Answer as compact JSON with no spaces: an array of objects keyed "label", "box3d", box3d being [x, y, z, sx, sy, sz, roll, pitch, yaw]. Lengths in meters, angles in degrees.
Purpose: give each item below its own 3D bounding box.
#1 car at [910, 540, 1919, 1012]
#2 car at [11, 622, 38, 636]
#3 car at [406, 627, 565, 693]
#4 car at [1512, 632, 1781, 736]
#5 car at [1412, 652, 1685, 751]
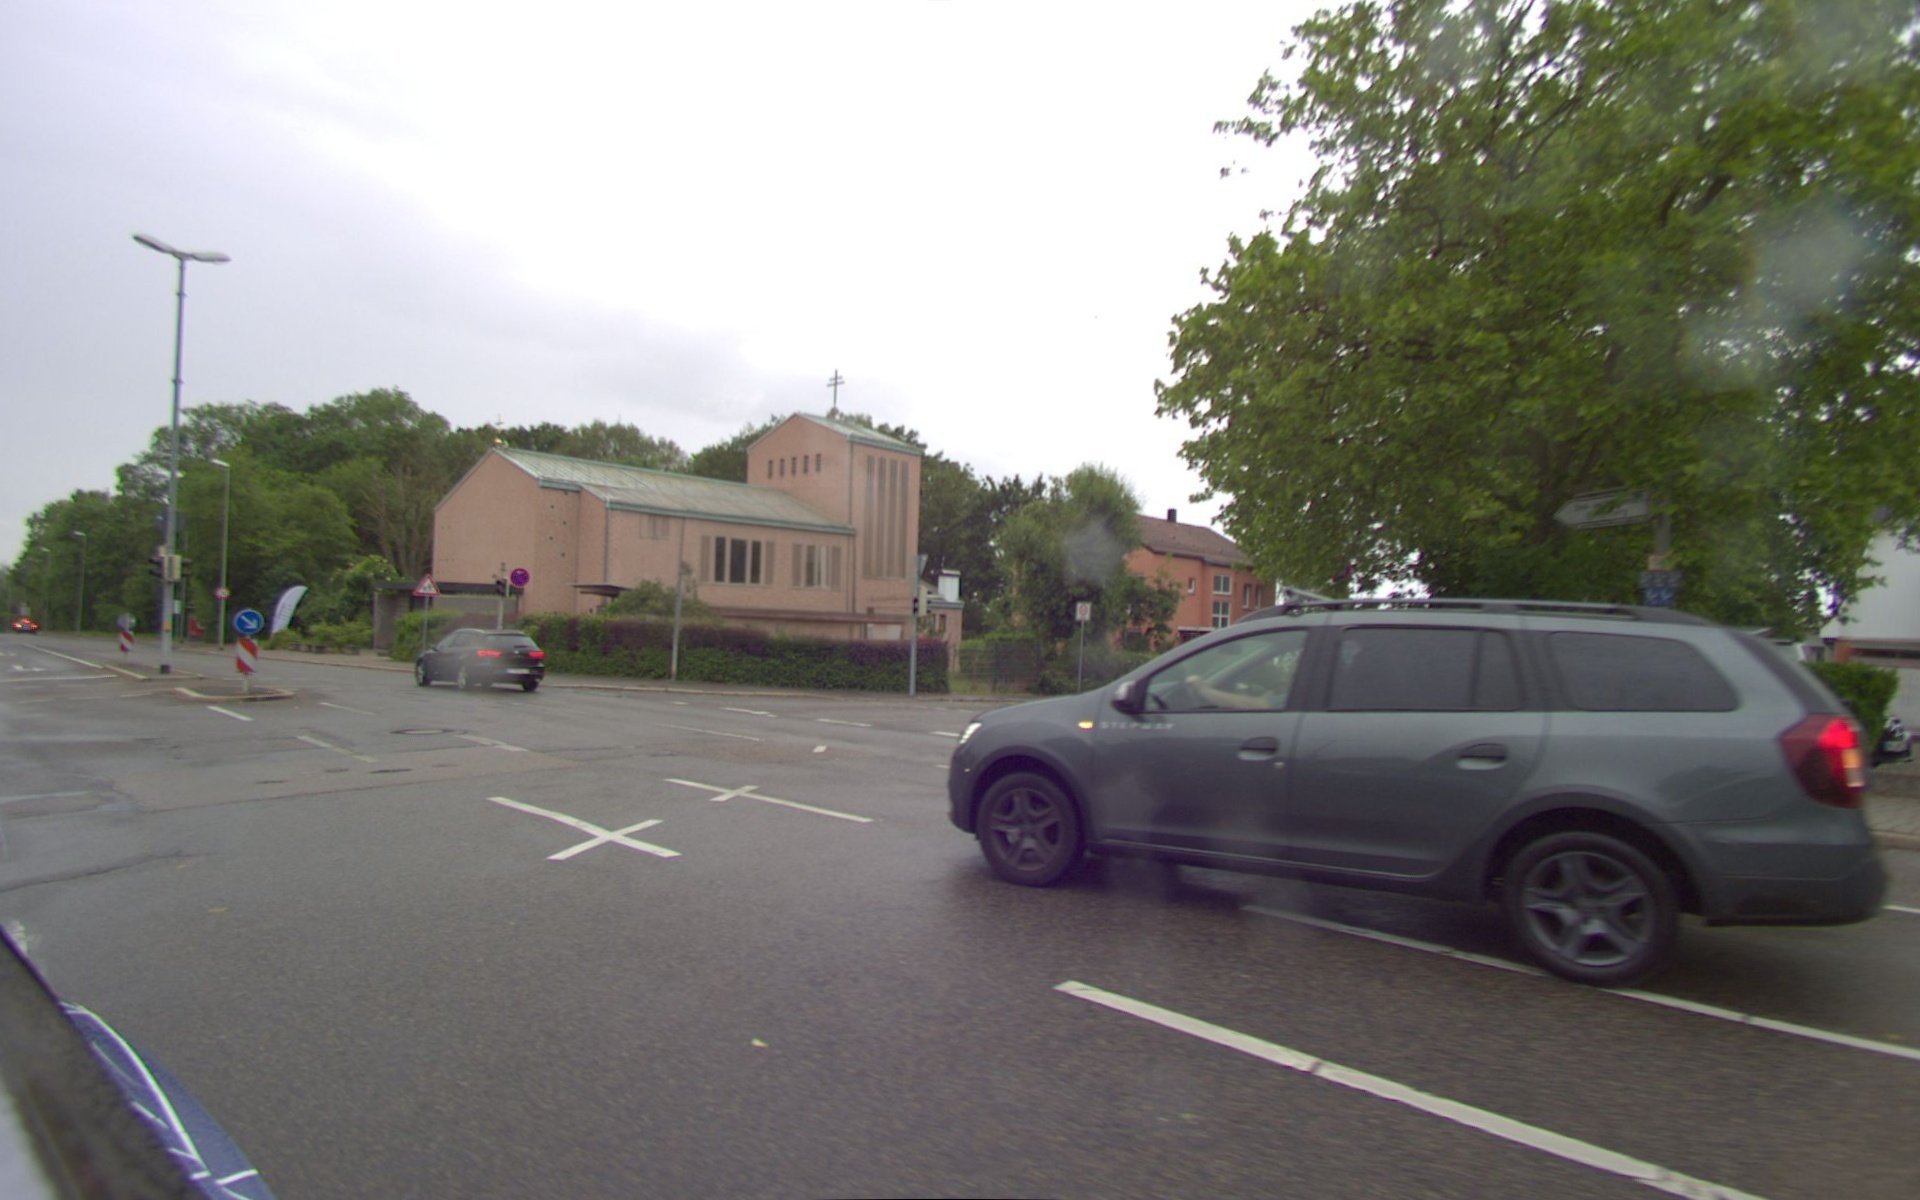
[{"label":"car","box3d":[2.097,0.681,5.302,4.489,1.589,1.883,-2,-4,33]},{"label":"car","box3d":[-110.202,3.429,119.212,4.317,1.603,1.888,-2,-3,42]},{"label":"car","box3d":[-11.462,1.419,24.315,4.415,1.438,1.888,-2,-4,42]},{"label":"car","box3d":[13.258,1.646,19.695,4.000,1.776,1.788,-6,-5,43]},{"label":"car","box3d":[10.808,1.867,18.768,4.000,1.564,1.788,-6,-5,43]}]
